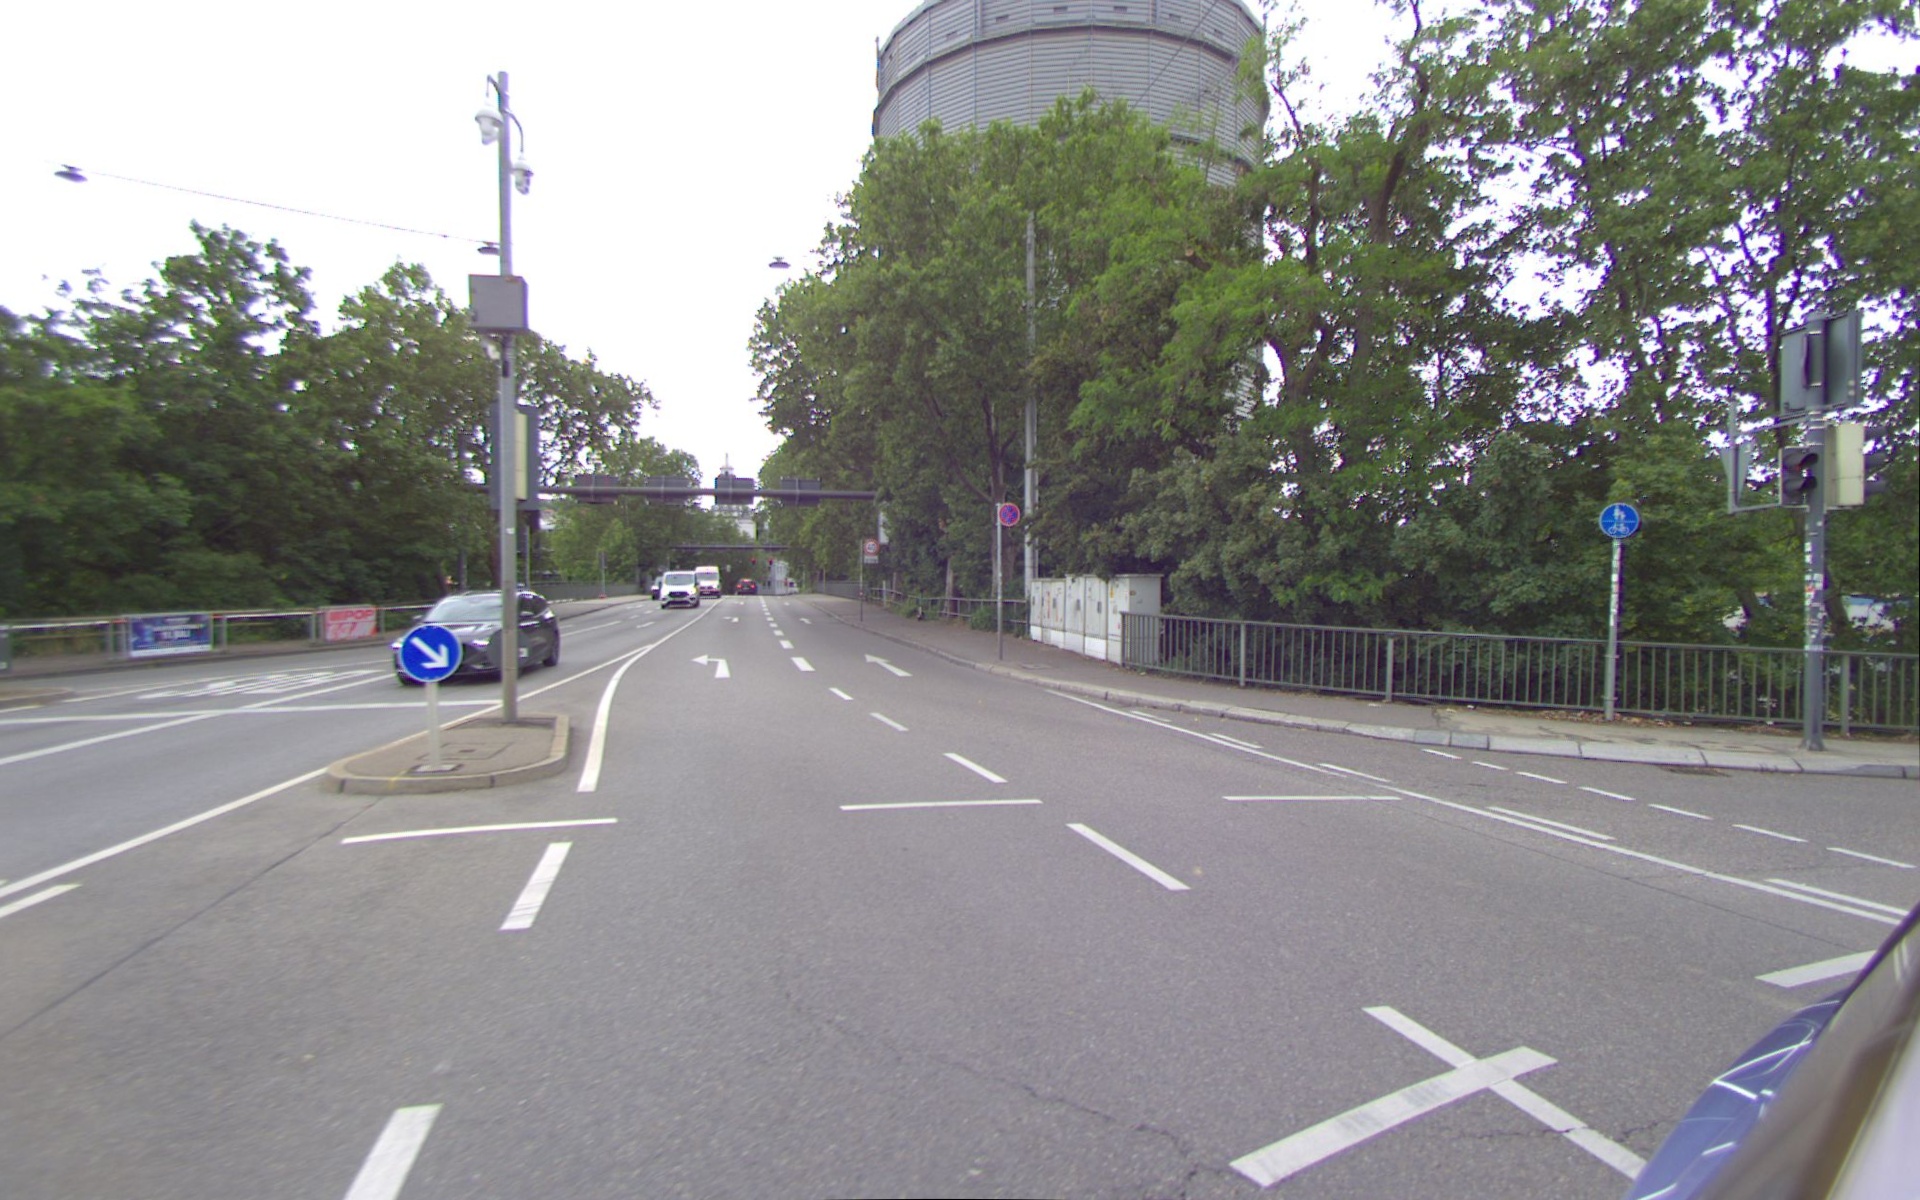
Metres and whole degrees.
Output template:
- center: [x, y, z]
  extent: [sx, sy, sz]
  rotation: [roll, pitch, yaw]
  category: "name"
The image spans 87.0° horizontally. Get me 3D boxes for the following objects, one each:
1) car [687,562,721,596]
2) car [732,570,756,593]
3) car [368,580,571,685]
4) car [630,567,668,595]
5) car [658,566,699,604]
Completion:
- center: [-20.206, -1.672, 80.139]
  extent: [2.284, 2.555, 4.958]
  rotation: [1, 1, -11]
  category: "car"
- center: [-22.315, -1.956, 104.626]
  extent: [1.960, 2.037, 4.008]
  rotation: [-4, 4, -8]
  category: "car"
- center: [-8.285, 0.443, 17.591]
  extent: [1.895, 1.437, 4.461]
  rotation: [-1, 2, -8]
  category: "car"
- center: [-23.610, -1.459, 76.941]
  extent: [2.284, 1.939, 4.960]
  rotation: [0, 3, -11]
  category: "car"
- center: [-15.647, -0.812, 56.351]
  extent: [1.894, 2.024, 4.461]
  rotation: [0, 0, -12]
  category: "car"
